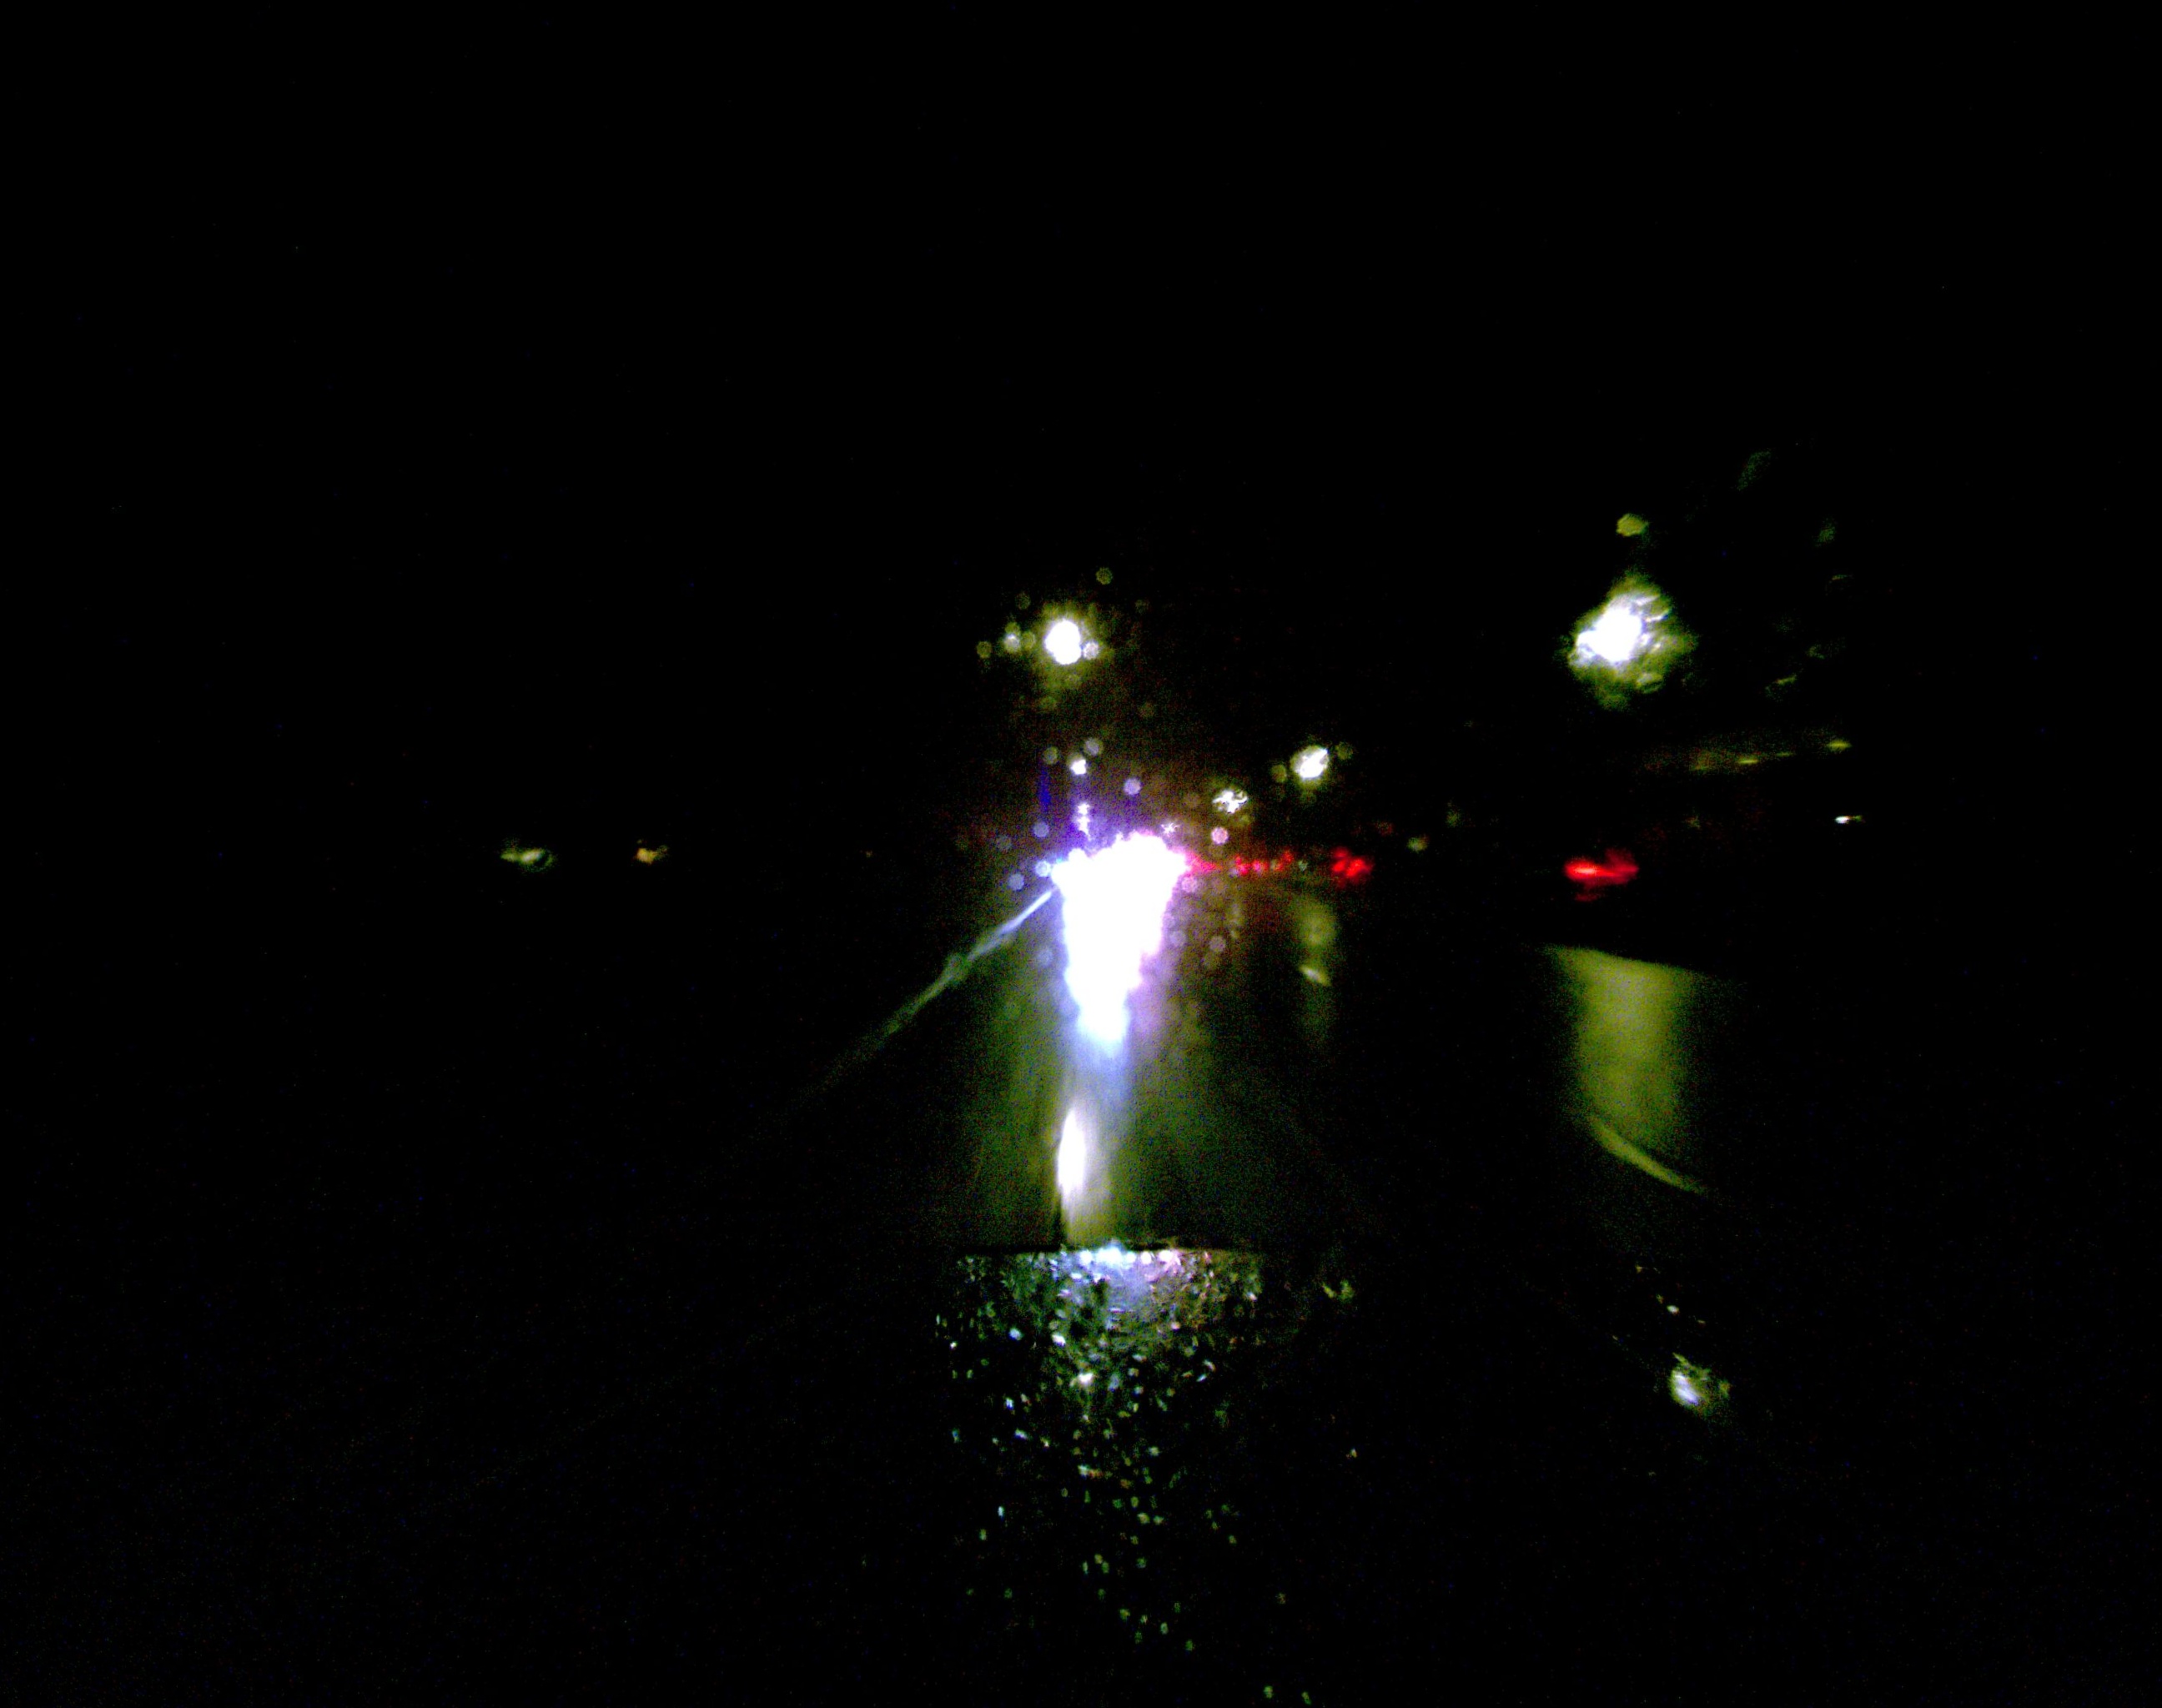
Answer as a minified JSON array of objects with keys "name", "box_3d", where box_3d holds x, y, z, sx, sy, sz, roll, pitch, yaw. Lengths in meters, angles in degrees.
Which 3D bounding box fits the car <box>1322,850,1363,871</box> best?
[{"name":"car","box_3d":[20.475,0.496,59.693,1.847,1.583,4.366,-2,0,2]}]

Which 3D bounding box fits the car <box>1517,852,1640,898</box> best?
[{"name":"car","box_3d":[20.102,0.800,30.970,2.029,1.674,4.548,-2,0,1]}]

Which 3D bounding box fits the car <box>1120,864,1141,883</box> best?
[{"name":"car","box_3d":[4.885,1.931,75.507,1.833,1.696,4.194,-2,0,1]}]

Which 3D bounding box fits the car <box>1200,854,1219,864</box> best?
[{"name":"car","box_3d":[19.009,0.763,112.620,1.848,1.350,5.558,-2,0,0]}]

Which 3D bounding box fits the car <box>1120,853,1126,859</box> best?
[{"name":"car","box_3d":[12.938,0.553,235.249,1.833,1.696,4.194,-2,0,1]}]

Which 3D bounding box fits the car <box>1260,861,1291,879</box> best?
[{"name":"car","box_3d":[18.206,1.484,71.297,1.847,1.583,4.366,-2,0,2]}]

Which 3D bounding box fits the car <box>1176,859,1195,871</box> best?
[{"name":"car","box_3d":[15.865,1.630,115.148,1.848,1.583,5.326,-2,0,-3]}]

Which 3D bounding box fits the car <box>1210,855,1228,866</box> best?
[{"name":"car","box_3d":[21.812,0.984,120.451,1.848,1.583,4.749,-2,0,-2]}]

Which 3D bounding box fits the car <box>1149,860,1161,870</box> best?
[{"name":"car","box_3d":[13.580,2.022,140.015,1.848,1.583,4.256,2,0,0]}]

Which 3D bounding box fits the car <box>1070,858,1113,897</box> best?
[{"name":"car","box_3d":[0.553,1.118,37.727,1.950,1.709,4.442,-2,0,1]}]

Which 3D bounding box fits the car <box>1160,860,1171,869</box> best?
[{"name":"car","box_3d":[16.340,2.083,146.714,1.711,1.568,3.820,-2,0,0]}]

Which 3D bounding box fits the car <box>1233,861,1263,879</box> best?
[{"name":"car","box_3d":[14.679,1.393,67.040,1.847,1.477,4.366,-2,0,2]}]

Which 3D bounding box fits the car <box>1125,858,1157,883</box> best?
[{"name":"car","box_3d":[4.037,1.069,51.436,1.833,1.518,4.875,-2,0,1]}]
